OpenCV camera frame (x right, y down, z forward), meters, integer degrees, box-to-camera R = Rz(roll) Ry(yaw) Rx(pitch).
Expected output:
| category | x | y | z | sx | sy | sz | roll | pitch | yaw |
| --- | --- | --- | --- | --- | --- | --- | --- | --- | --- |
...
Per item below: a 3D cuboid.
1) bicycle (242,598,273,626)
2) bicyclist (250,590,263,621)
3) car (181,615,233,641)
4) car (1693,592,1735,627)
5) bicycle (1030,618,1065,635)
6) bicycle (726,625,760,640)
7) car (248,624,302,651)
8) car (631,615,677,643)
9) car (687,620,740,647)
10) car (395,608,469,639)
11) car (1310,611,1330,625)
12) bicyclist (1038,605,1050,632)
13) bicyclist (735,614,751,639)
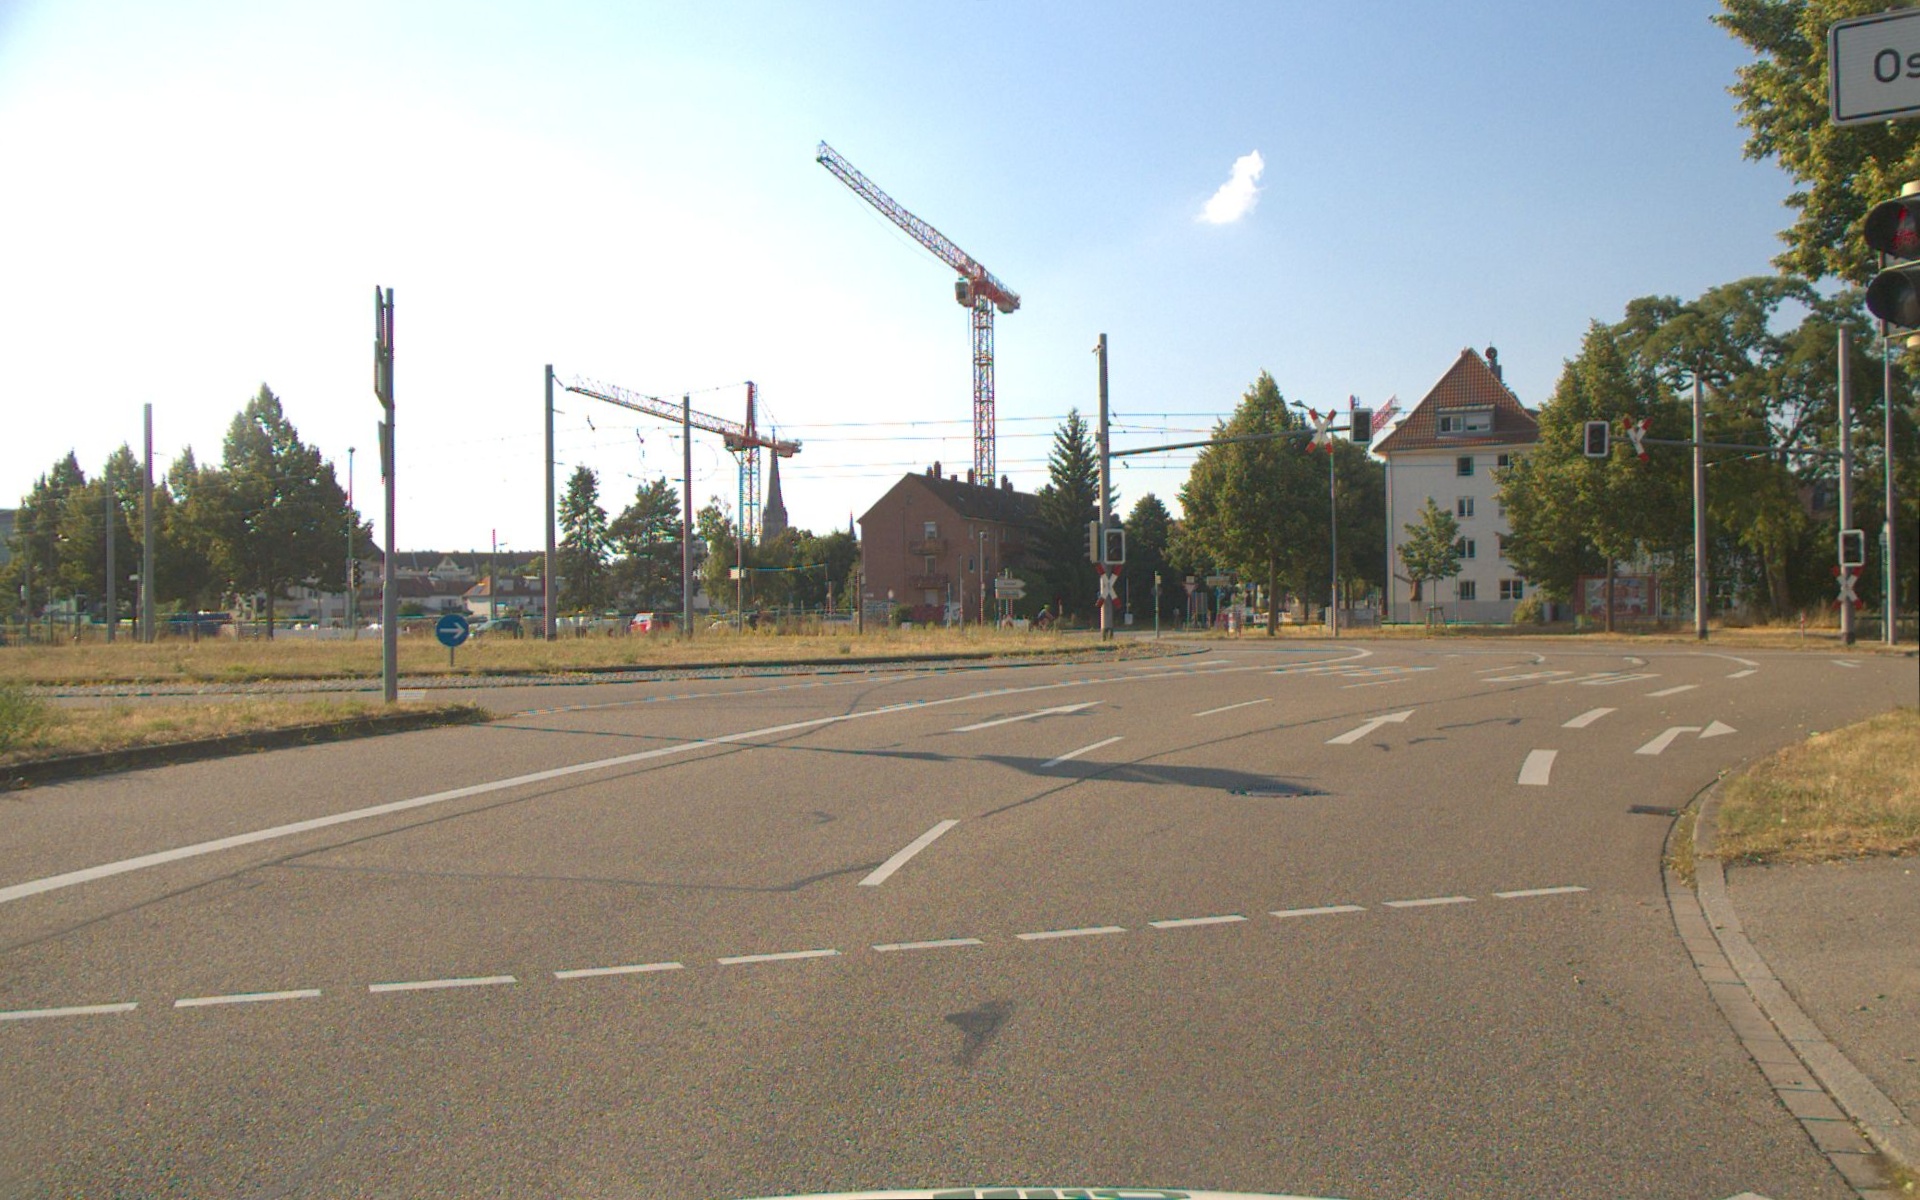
| category | x | y | z | sx | sy | sz | roll | pitch | yaw |
| --- | --- | --- | --- | --- | --- | --- | --- | --- | --- |
| bicycle | -38.145 | 0.656 | 89.807 | 1.515 | 1.499 | 0.477 | -1 | 0 | -18 |
| bicyclist | -38.214 | 0.300 | 89.798 | 0.597 | 1.701 | 0.475 | 0 | -1 | -17 |
| car | -60.512 | 2.235 | 132.956 | 3.915 | 2.049 | 1.995 | -1 | 0 | 33 |
| car | 37.356 | 0.475 | 81.938 | 1.736 | 1.646 | 3.964 | -1 | -1 | 26 |
| bicycle | 4.994 | 1.522 | 94.486 | 1.949 | 0.934 | 0.429 | -1 | 0 | -7 |
| bicycle | -12.471 | 1.871 | 95.150 | 1.949 | 0.839 | 0.429 | -1 | 0 | -7 |
| car | -53.336 | 2.909 | 128.700 | 3.915 | 2.049 | 1.995 | -1 | 0 | 33 |
| car | -21.196 | 2.013 | 114.523 | 1.900 | 1.886 | 3.958 | -1 | 0 | -31 |
| car | -19.465 | 2.636 | 130.673 | 3.728 | 2.049 | 1.673 | -1 | -1 | 17 |
| car | -32.405 | 1.439 | 101.478 | 3.952 | 1.847 | 1.977 | -1 | 0 | -34 |
| car | 37.969 | 1.889 | 174.196 | 1.426 | 1.323 | 3.548 | -1 | 0 | 23 |
| bicyclist | 4.800 | 1.074 | 94.463 | 0.610 | 1.537 | 0.418 | -1 | 0 | -7 |
| bicyclist | -12.458 | 1.517 | 95.149 | 0.880 | 1.421 | 0.525 | -1 | 0 | -7 |
